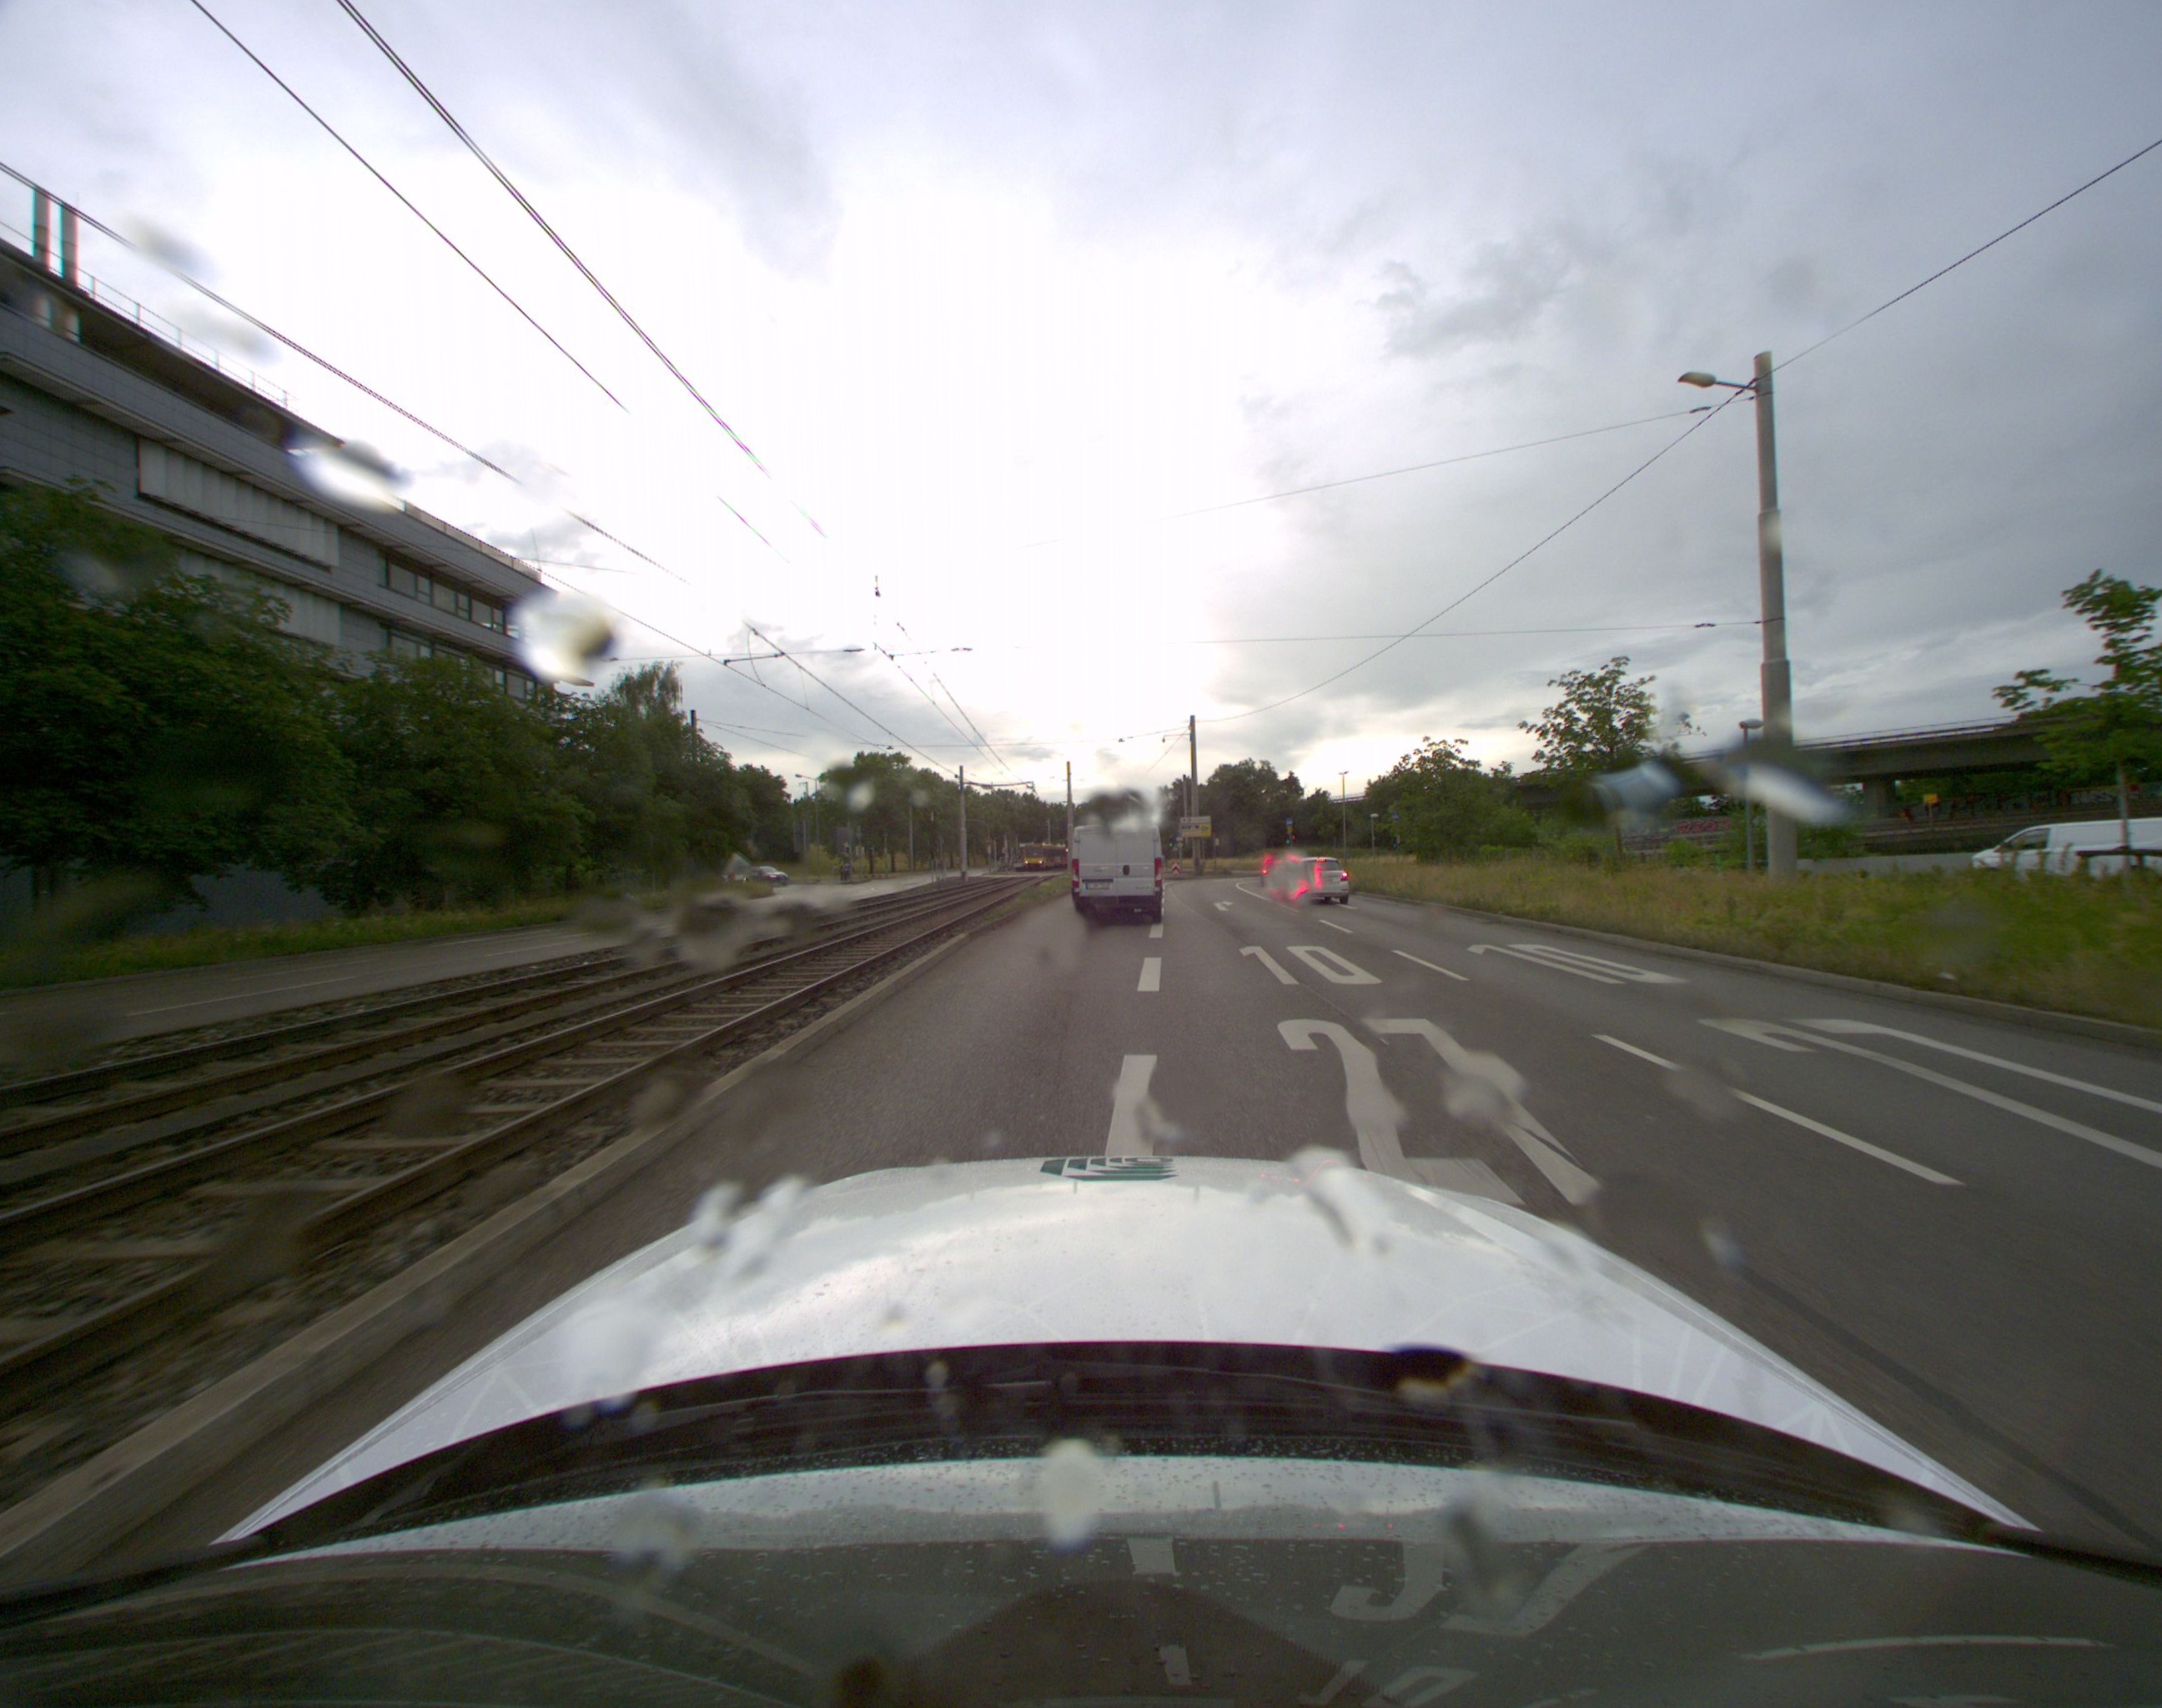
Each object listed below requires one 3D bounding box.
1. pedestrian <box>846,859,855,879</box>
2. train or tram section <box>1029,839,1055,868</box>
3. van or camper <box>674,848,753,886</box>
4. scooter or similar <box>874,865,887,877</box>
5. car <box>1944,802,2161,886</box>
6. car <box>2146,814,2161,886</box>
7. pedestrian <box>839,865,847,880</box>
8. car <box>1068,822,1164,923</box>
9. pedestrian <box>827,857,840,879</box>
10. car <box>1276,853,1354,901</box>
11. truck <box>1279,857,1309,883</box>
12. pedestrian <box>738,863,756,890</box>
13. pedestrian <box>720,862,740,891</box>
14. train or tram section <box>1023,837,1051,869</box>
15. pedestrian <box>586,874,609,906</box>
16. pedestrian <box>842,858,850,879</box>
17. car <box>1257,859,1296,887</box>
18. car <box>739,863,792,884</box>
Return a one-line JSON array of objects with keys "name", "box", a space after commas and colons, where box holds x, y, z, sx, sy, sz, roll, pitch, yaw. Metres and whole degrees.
[{"name": "pedestrian", "box": [-21.293, 1.388, 75.365, 0.504, 1.787, 0.833, 0, 0, 6]}, {"name": "train or tram section", "box": [-5.407, -0.091, 113.324, 2.916, 3.933, 7.011, 1, 0, 3]}, {"name": "van or camper", "box": [-30.463, 1.111, 67.383, 7.279, 2.967, 2.507, -1, 0, 35]}, {"name": "scooter or similar", "box": [-21.700, 1.833, 88.006, 1.287, 1.161, 0.376, -2, 0, -44]}, {"name": "car", "box": [26.859, -0.255, 21.778, 2.038, 2.013, 5.086, -1, 0, -2]}, {"name": "car", "box": [31.888, -0.121, 21.273, 1.941, 2.050, 4.702, 1, 0, -3]}, {"name": "pedestrian", "box": [-22.583, 1.754, 77.237, 0.493, 1.473, 0.722, 1, 0, 3]}, {"name": "car", "box": [0.818, 0.396, 20.280, 2.083, 2.196, 5.062, 0, 0, 1]}, {"name": "pedestrian", "box": [-23.394, 1.322, 76.938, 0.885, 2.013, 0.864, -2, 0, -4]}, {"name": "car", "box": [7.553, 0.693, 26.578, 1.739, 1.457, 3.675, 0, 0, 4]}, {"name": "truck", "box": [15.876, 1.173, 60.964, 1.980, 1.790, 4.429, -2, 0, 13]}, {"name": "pedestrian", "box": [-23.947, 1.609, 58.399, 0.627, 1.867, 0.960, -2, 0, 31]}, {"name": "pedestrian", "box": [-24.975, 1.594, 57.989, 0.878, 2.013, 0.951, -2, -1, 30]}, {"name": "train or tram section", "box": [-5.757, -0.115, 106.927, 2.916, 3.933, 7.011, 1, 0, 3]}, {"name": "pedestrian", "box": [-27.012, 2.005, 45.489, 0.722, 1.755, 0.878, 1, 0, 3]}, {"name": "pedestrian", "box": [-21.807, 1.353, 75.560, 0.493, 1.955, 0.723, 0, -1, 5]}, {"name": "car", "box": [10.386, 0.988, 43.508, 1.778, 1.449, 4.012, -1, 0, 10]}, {"name": "car", "box": [-27.318, 1.685, 70.459, 4.571, 1.732, 2.013, -1, 0, 34]}]
